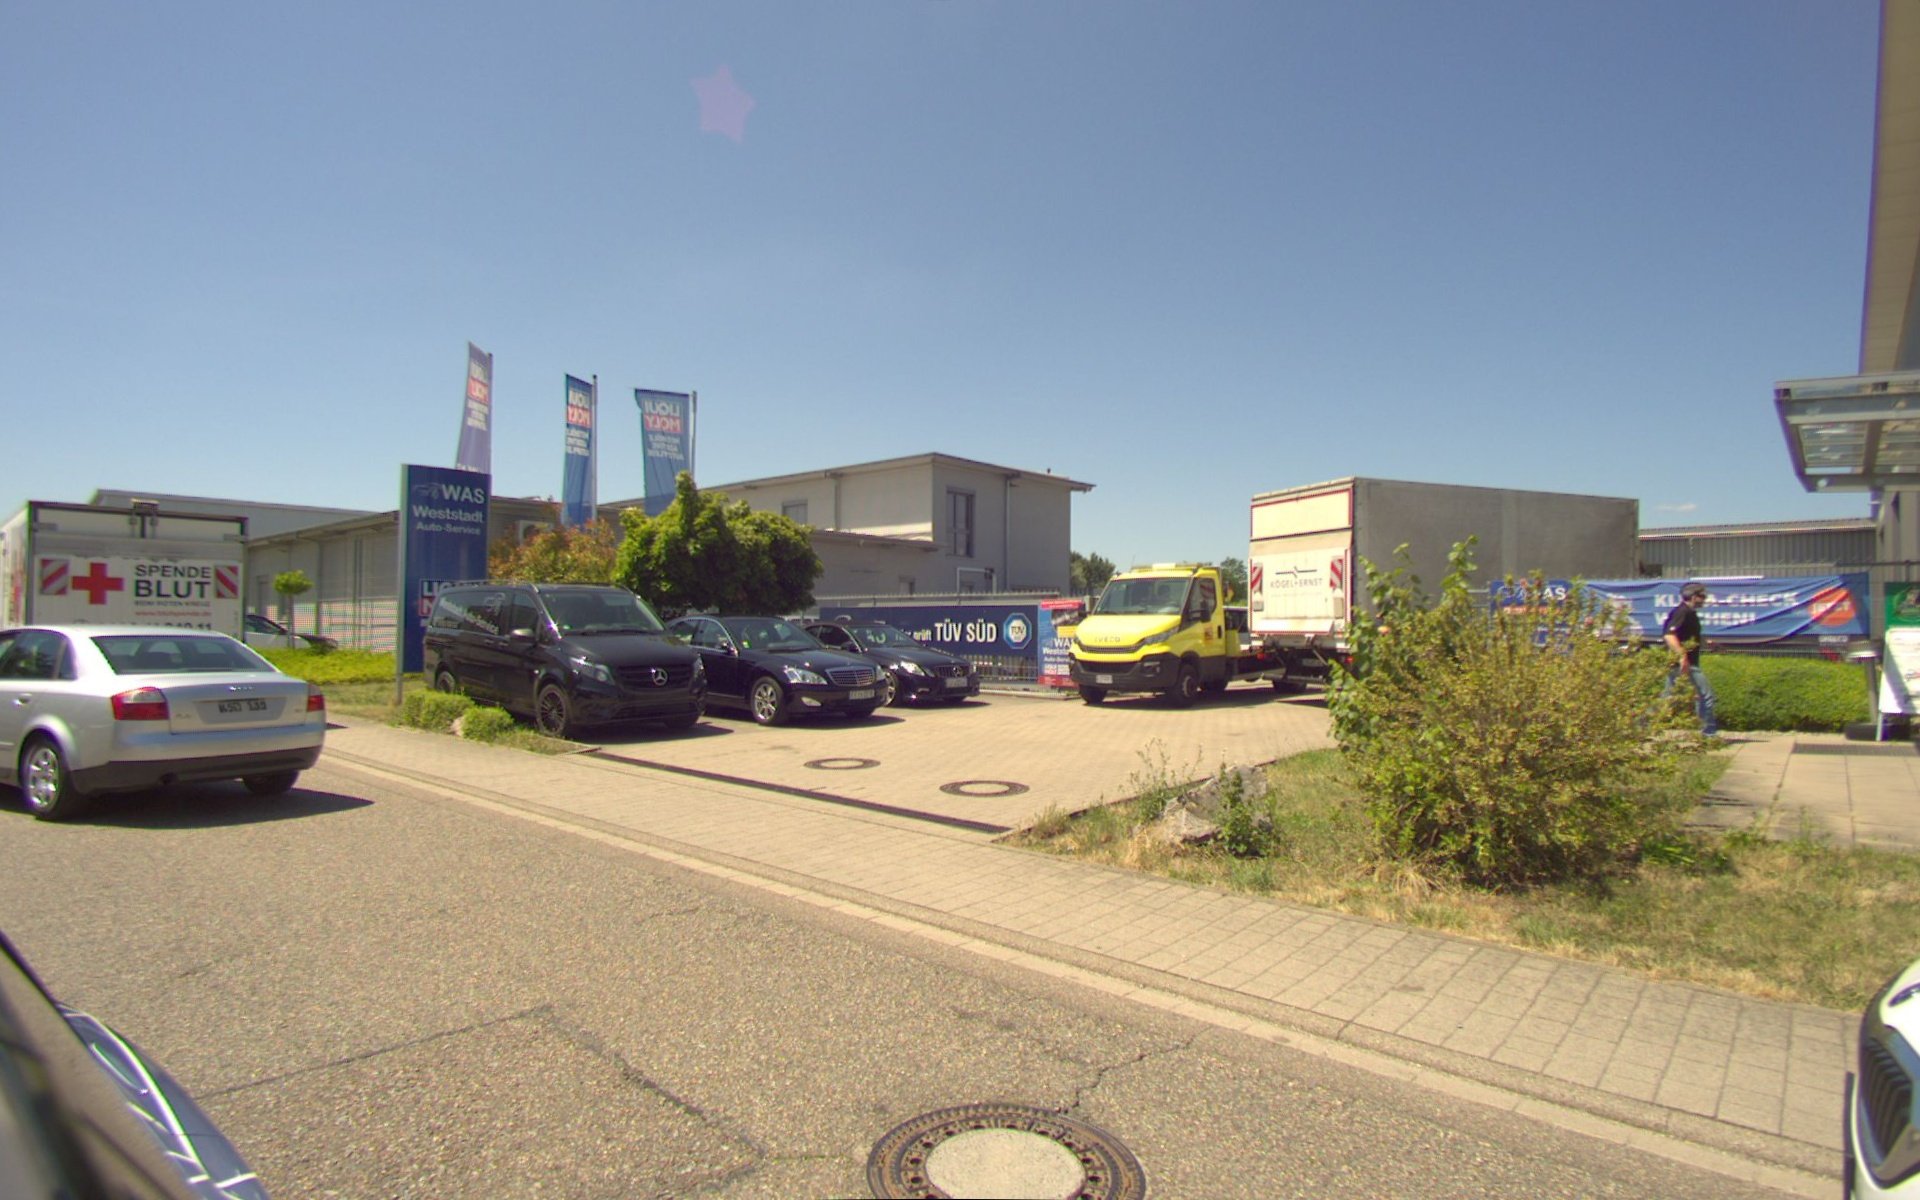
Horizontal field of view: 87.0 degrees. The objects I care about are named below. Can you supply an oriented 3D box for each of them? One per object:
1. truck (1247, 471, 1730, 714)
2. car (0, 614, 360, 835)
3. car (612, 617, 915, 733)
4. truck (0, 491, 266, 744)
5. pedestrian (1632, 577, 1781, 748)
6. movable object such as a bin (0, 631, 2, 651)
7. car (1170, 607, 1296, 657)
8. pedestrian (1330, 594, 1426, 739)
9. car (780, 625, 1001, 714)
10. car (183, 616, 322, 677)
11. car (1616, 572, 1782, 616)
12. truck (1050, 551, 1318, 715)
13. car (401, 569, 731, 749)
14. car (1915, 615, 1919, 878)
[{"bbox_3d":[9.113,-0.109,17.427,7.924,3.584,2.595,0,-1,-19],"label":"truck"},{"bbox_3d":[-7.300,0.867,8.443,4.390,1.433,1.773,0,-4,26],"label":"car"},{"bbox_3d":[-3.040,0.980,14.975,4.767,1.427,1.911,-1,-1,42],"label":"car"},{"bbox_3d":[-12.335,0.299,14.533,6.414,2.882,2.336,-1,-4,42],"label":"truck"},{"bbox_3d":[7.708,0.649,10.466,1.083,1.658,0.717,-5,-5,41],"label":"pedestrian"},{"bbox_3d":[-46.862,1.997,49.048,0.511,0.957,0.565,-2,-2,36],"label":"movable object such as a bin"},{"bbox_3d":[8.711,0.974,32.040,1.937,1.427,4.703,-1,-1,42],"label":"car"},{"bbox_3d":[5.235,0.805,12.735,0.923,1.739,1.011,0,-1,12],"label":"pedestrian"},{"bbox_3d":[-1.252,1.107,17.185,3.761,1.347,1.572,-1,-2,42],"label":"car"},{"bbox_3d":[-18.775,1.211,26.912,1.534,1.529,2.713,-1,-2,40],"label":"car"},{"bbox_3d":[26.271,-0.167,36.147,1.758,1.433,4.427,1,-2,-29],"label":"car"},{"bbox_3d":[4.228,0.535,18.207,2.164,2.480,5.892,-2,-1,41],"label":"truck"},{"bbox_3d":[-5.458,0.696,13.624,5.216,1.971,1.972,-1,-2,42],"label":"car"},{"bbox_3d":[3.637,0.733,0.514,4.490,1.469,1.711,-1,-2,42],"label":"car"}]
